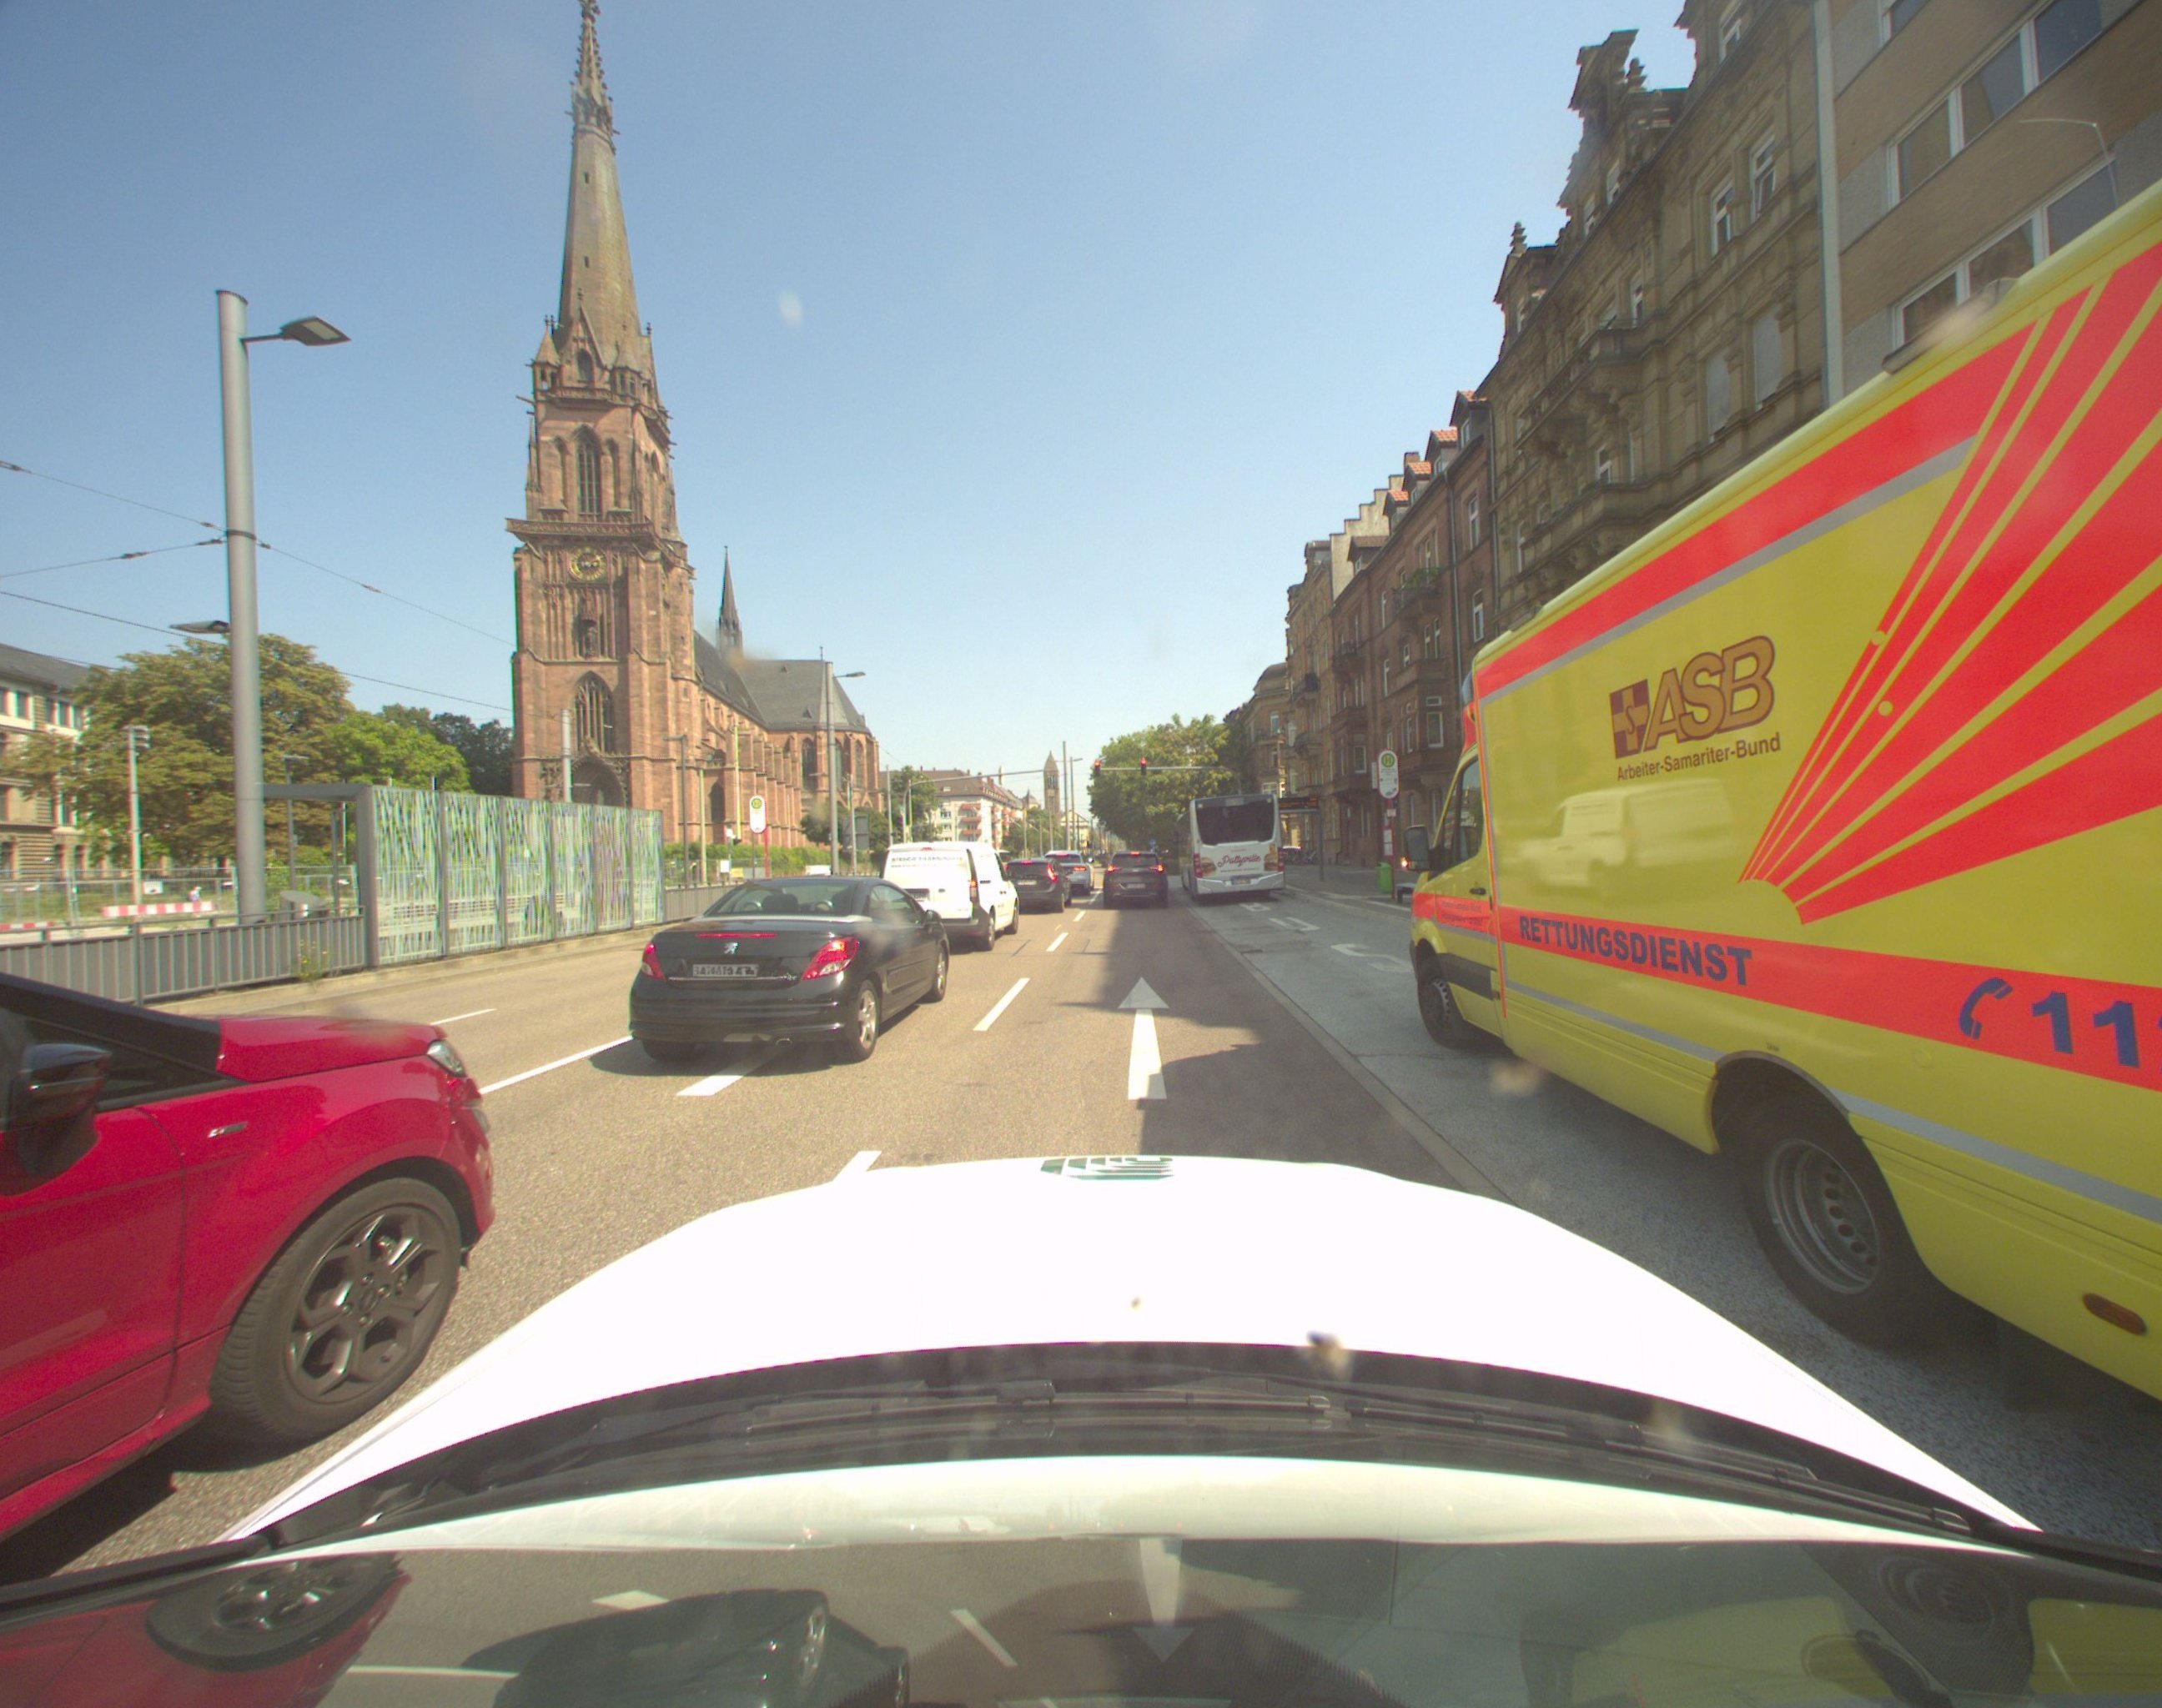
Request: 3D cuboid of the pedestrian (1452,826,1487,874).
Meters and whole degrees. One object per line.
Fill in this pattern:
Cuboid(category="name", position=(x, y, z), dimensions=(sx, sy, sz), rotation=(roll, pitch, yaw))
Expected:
Cuboid(category="pedestrian", position=(14.556, -0.154, 30.529), dimensions=(0.872, 1.778, 0.737), rotation=(-2, 0, -25))

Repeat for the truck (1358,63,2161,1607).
Cuboid(category="truck", position=(3.407, -0.046, 4.125), dimensions=(2.316, 2.770, 6.350), rotation=(-4, 0, 6))

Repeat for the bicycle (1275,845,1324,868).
Cuboid(category="bicycle", position=(14.430, 0.180, 53.832), dimensions=(2.982, 1.371, 0.872), rotation=(-2, 0, 2))

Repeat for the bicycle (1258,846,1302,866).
Cuboid(category="bicycle", position=(14.555, 0.150, 59.652), dimensions=(2.992, 1.373, 0.948), rotation=(-2, 0, 2))

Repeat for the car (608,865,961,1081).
Cuboid(category="car", position=(-2.327, 0.846, 7.499), dimensions=(1.681, 1.413, 3.804), rotation=(-1, 0, 3))

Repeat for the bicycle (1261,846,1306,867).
Cuboid(category="bicycle", position=(14.587, 0.158, 58.639), dimensions=(2.992, 1.373, 0.948), rotation=(-2, 0, 2))

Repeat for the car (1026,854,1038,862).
Cuboid(category="car", position=(-10.196, 0.811, 170.544), dimensions=(1.737, 1.435, 4.582), rotation=(-3, 0, 7))

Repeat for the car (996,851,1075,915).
Cuboid(category="car", position=(-1.189, 0.740, 23.173), dimensions=(1.740, 1.614, 4.312), rotation=(-1, 0, 3))

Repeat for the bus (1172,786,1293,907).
Cuboid(category="bus", position=(4.835, -0.204, 28.376), dimensions=(2.730, 3.107, 11.971), rotation=(-5, 0, 5))

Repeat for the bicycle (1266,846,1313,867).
Cuboid(category="bicycle", position=(14.467, 0.176, 56.602), dimensions=(2.982, 1.371, 0.872), rotation=(-2, 0, 2))

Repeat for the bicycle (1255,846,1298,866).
Cuboid(category="bicycle", position=(14.634, 0.144, 60.969), dimensions=(2.992, 1.373, 0.948), rotation=(-2, 0, 2))

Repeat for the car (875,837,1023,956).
Cuboid(category="car", position=(-2.203, 0.658, 14.763), dimensions=(1.740, 1.820, 4.243), rotation=(-1, 0, 3))

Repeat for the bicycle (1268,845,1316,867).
Cuboid(category="bicycle", position=(14.393, 0.164, 55.656), dimensions=(2.982, 1.371, 0.872), rotation=(-2, 0, 2))

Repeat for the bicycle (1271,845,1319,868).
Cuboid(category="bicycle", position=(14.384, 0.165, 54.742), dimensions=(2.982, 1.371, 0.872), rotation=(-2, 0, 2))

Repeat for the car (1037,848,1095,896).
Cuboid(category="car", position=(-0.493, 0.632, 30.966), dimensions=(1.894, 1.651, 4.312), rotation=(-1, 0, 3))

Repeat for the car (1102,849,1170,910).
Cuboid(category="car", position=(1.670, 0.684, 24.459), dimensions=(1.824, 1.651, 4.313), rotation=(-1, 0, 4))

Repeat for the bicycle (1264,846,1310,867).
Cuboid(category="bicycle", position=(14.517, 0.152, 57.545), dimensions=(2.992, 1.373, 0.948), rotation=(-2, 0, 2))

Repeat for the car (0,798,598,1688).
Cuboid(category="car", position=(-2.815, 0.720, 1.182), dimensions=(1.622, 1.620, 3.972), rotation=(-1, 0, 4))
